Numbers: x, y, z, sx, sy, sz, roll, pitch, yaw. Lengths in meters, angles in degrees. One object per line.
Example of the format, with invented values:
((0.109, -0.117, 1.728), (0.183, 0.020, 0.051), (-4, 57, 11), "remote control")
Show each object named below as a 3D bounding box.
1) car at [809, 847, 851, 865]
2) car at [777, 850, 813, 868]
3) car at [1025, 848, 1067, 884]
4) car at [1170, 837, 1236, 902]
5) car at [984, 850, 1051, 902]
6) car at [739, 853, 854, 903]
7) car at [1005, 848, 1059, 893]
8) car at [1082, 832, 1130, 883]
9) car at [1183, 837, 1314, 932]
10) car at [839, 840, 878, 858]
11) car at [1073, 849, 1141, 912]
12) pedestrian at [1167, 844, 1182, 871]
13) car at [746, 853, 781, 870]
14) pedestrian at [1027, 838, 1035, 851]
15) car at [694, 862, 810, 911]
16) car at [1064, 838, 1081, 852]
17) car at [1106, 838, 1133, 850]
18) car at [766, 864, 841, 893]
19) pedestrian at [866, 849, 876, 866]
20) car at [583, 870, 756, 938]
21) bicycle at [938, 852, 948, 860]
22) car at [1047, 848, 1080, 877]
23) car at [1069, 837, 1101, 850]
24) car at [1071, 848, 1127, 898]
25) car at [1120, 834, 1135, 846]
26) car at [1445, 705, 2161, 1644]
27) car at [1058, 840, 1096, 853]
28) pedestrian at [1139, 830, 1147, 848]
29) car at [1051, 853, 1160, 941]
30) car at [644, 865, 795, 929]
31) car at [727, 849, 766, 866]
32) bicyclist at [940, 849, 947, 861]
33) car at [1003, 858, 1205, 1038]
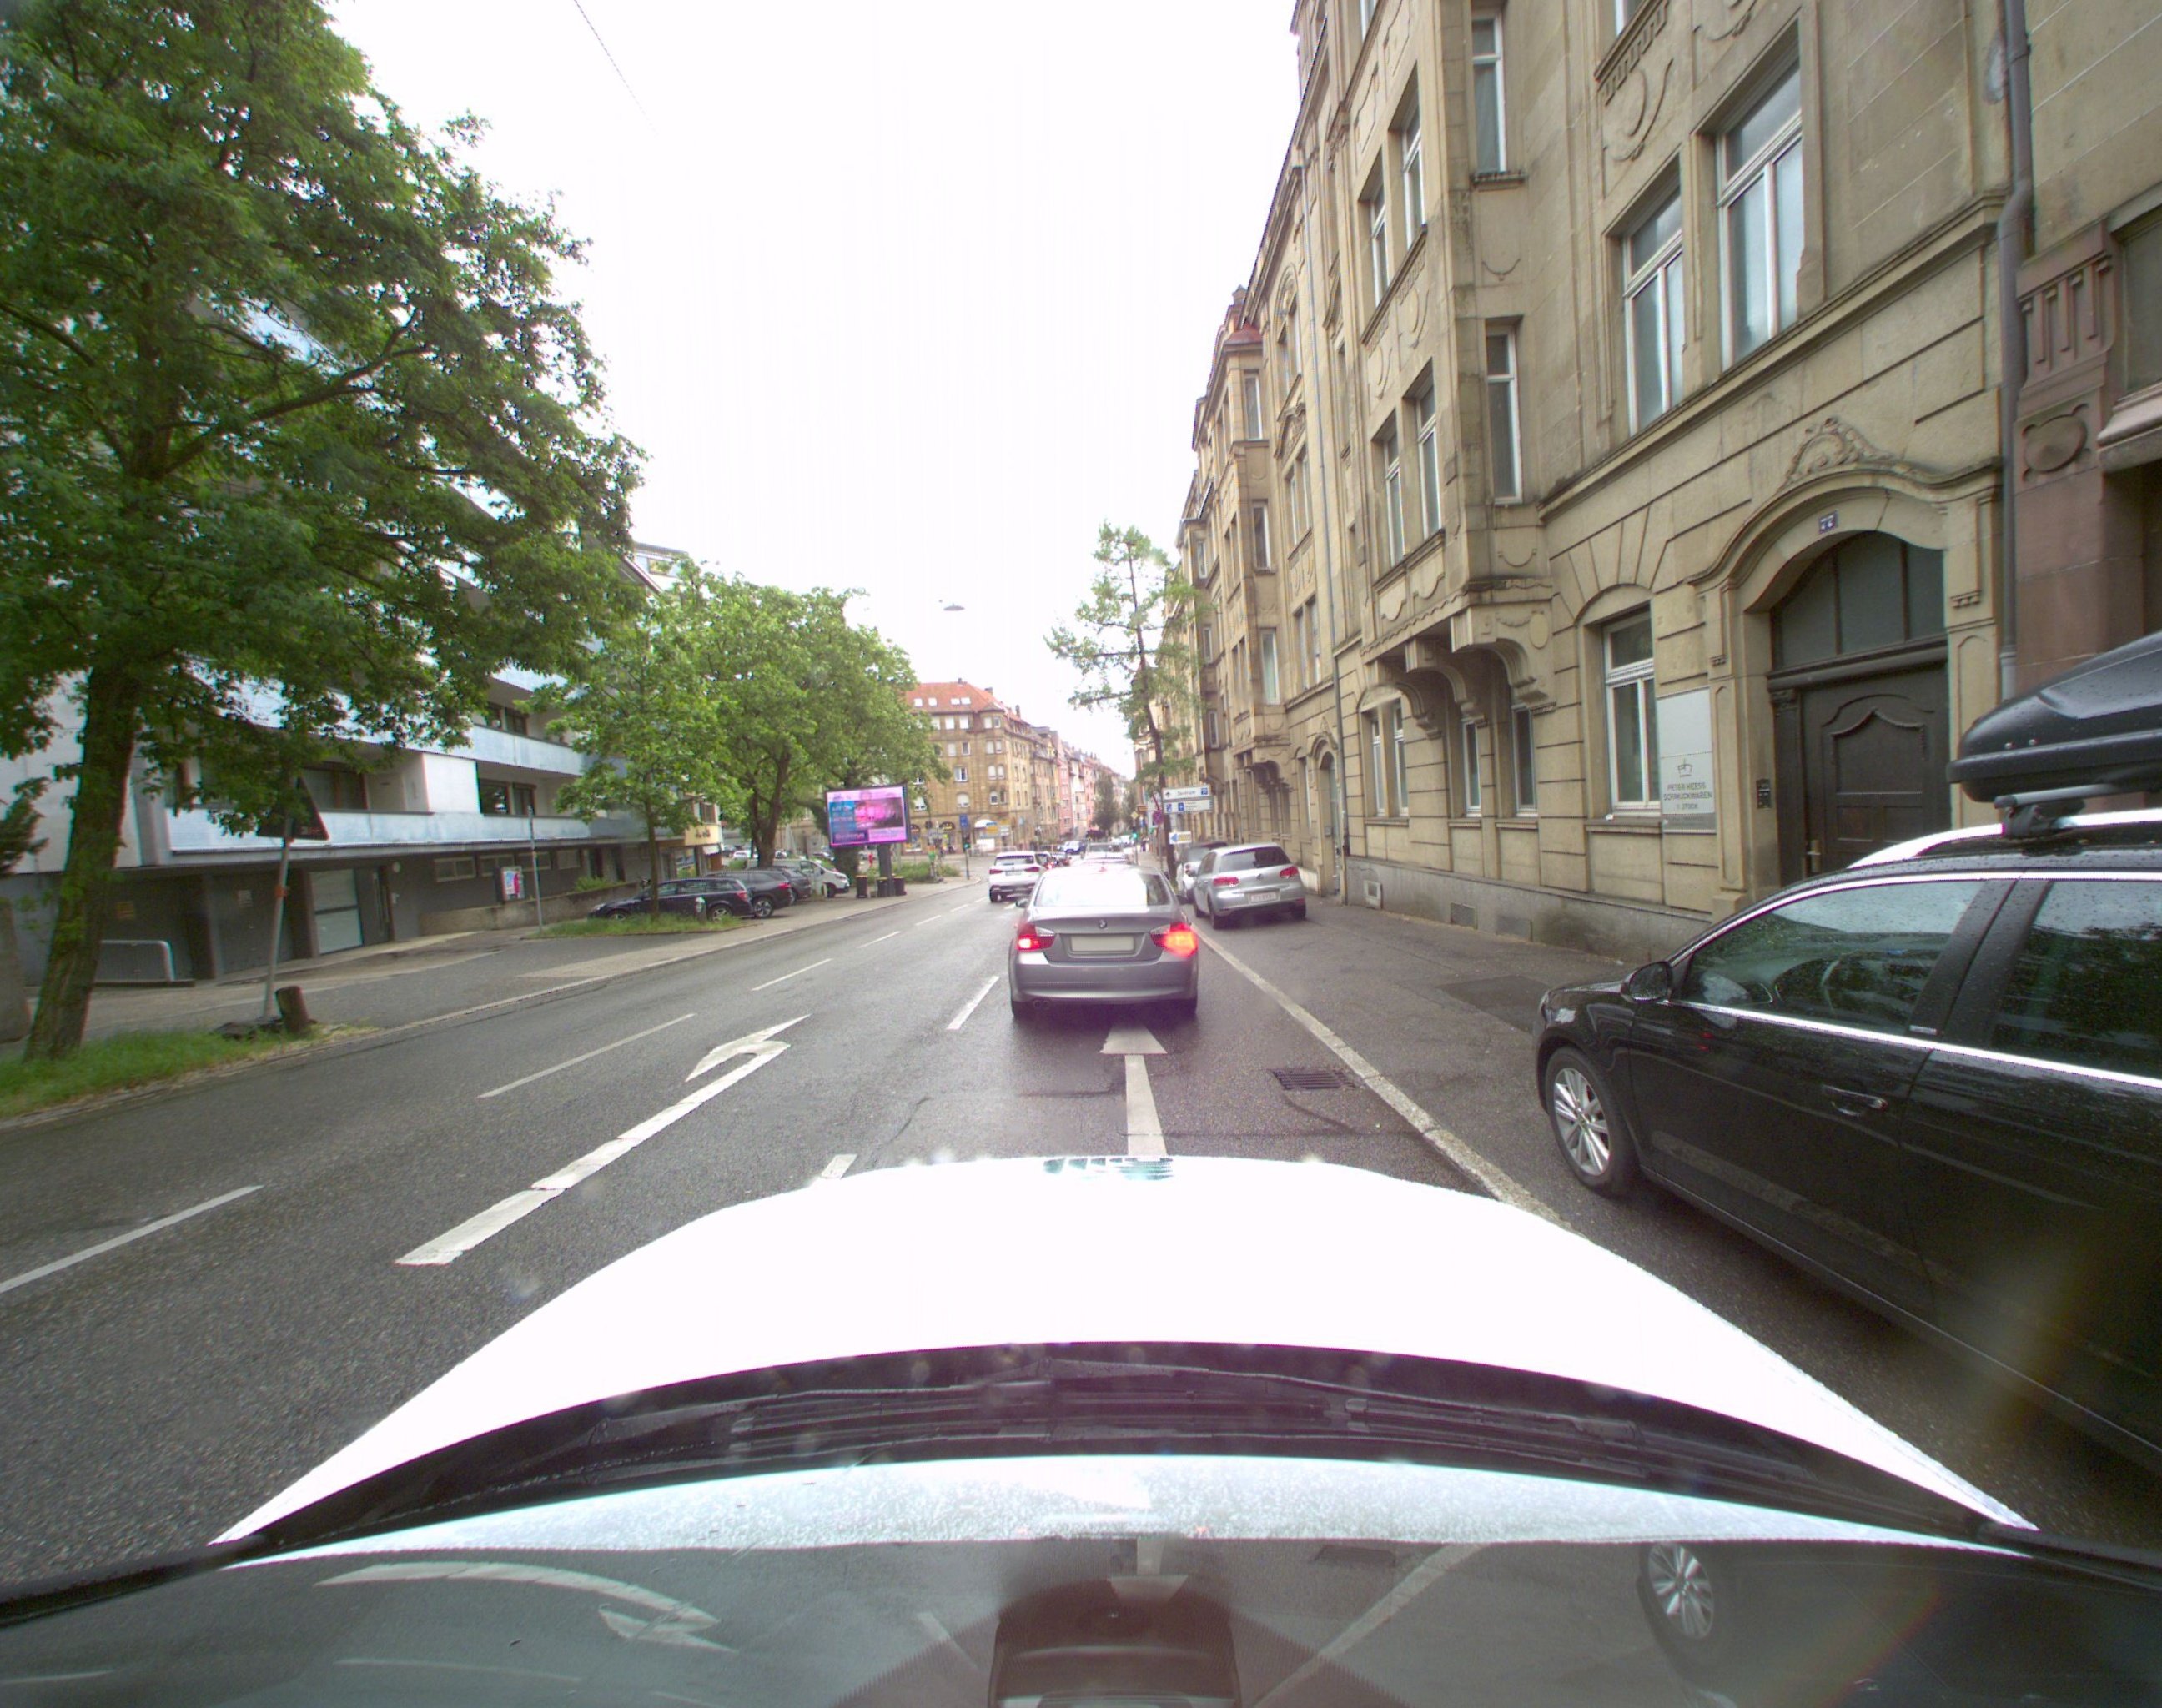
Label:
((-26.862, 0.236, 87.034), (4.194, 1.726, 2.013), (-1, 2, 32), "car")
((-36.339, 0.628, 103.529), (4.238, 2.101, 2.013), (0, 2, 30), "car")
((-1.772, 0.590, 42.162), (1.752, 1.707, 4.003), (-2, 0, 3), "car")
((3.333, 0.394, 22.678), (1.295, 1.543, 2.977), (-7, 0, 1), "car")
((-2.109, 0.702, 28.234), (1.861, 1.625, 4.001), (-2, 0, 1), "car")
((-13.897, 1.163, 39.986), (5.076, 2.105, 1.979), (-3, 0, -19), "car")
((-1.959, 0.619, 33.783), (1.752, 1.707, 4.003), (-2, 0, 3), "car")
((1.123, 0.161, 36.522), (1.986, 2.106, 4.002), (-2, 0, 2), "car")
((3.204, 0.528, 16.354), (1.753, 1.451, 4.001), (-7, 0, 1), "car")
((-26.579, -0.577, 97.427), (4.238, 2.101, 2.013), (0, 2, 30), "car")
((0.730, 0.613, 21.340), (1.588, 1.464, 4.003), (-1, 0, 3), "car")
((5.565, 0.197, 48.528), (0.629, 1.508, 0.693), (-7, 0, 1), "pedestrian")
((-41.394, 0.945, 106.099), (4.238, 2.101, 2.013), (0, 2, 30), "car")
((-6.202, -1.145, 101.364), (0.727, 1.577, 0.530), (-3, 0, 10), "pedestrian")
((-13.861, 1.331, 34.614), (4.370, 1.784, 1.927), (-3, 0, -19), "car")
((-0.986, -0.971, 92.305), (1.709, 1.450, 3.743), (-3, 0, 1), "car")
((5.308, -1.330, 111.909), (1.974, 1.578, 4.025), (-1, -1, 34), "car")
((-16.197, 1.410, 47.608), (3.985, 1.450, 1.758), (-3, 0, -19), "car")
((-20.580, 0.348, 79.849), (0.532, 1.577, 0.723), (-5, 0, 16), "pedestrian")
((-12.230, 1.442, 24.561), (4.373, 1.574, 1.930), (-4, 0, -21), "car")
((-15.603, 0.191, 92.244), (0.569, 0.858, 1.527), (-1, -1, 14), "bicycle")
((-1.110, 0.531, 52.827), (1.752, 1.707, 4.003), (-2, 0, 3), "car")
((0.652, -1.632, 130.375), (5.158, 2.014, 2.699), (0, -1, 1), "car")
((0.677, 0.606, 28.300), (1.752, 1.567, 4.003), (-2, 0, 3), "car")
((6.886, -2.035, 120.310), (1.983, 1.578, 4.008), (-1, -1, 7), "car")
((2.708, 0.465, 2.012), (1.753, 1.651, 4.101), (-7, 0, 2), "car")
((-0.492, -0.919, 102.655), (4.681, 1.578, 1.975), (0, -1, -45), "car")
((6.690, -1.640, 87.329), (0.740, 1.910, 0.659), (-3, 0, 1), "pedestrian")
((0.505, 0.709, 15.458), (1.752, 1.383, 4.003), (-2, 0, 3), "car")
((-11.982, 1.385, 27.304), (4.382, 1.672, 1.842), (-4, 0, -21), "car")
((-38.625, 0.381, 93.988), (4.195, 1.726, 2.013), (-2, 3, 31), "car")
((-15.606, 0.115, 92.170), (0.565, 1.273, 0.692), (-1, -1, 14), "bicyclist")
((0.279, 0.790, 8.517), (1.617, 1.383, 3.618), (-2, 0, 3), "car")
